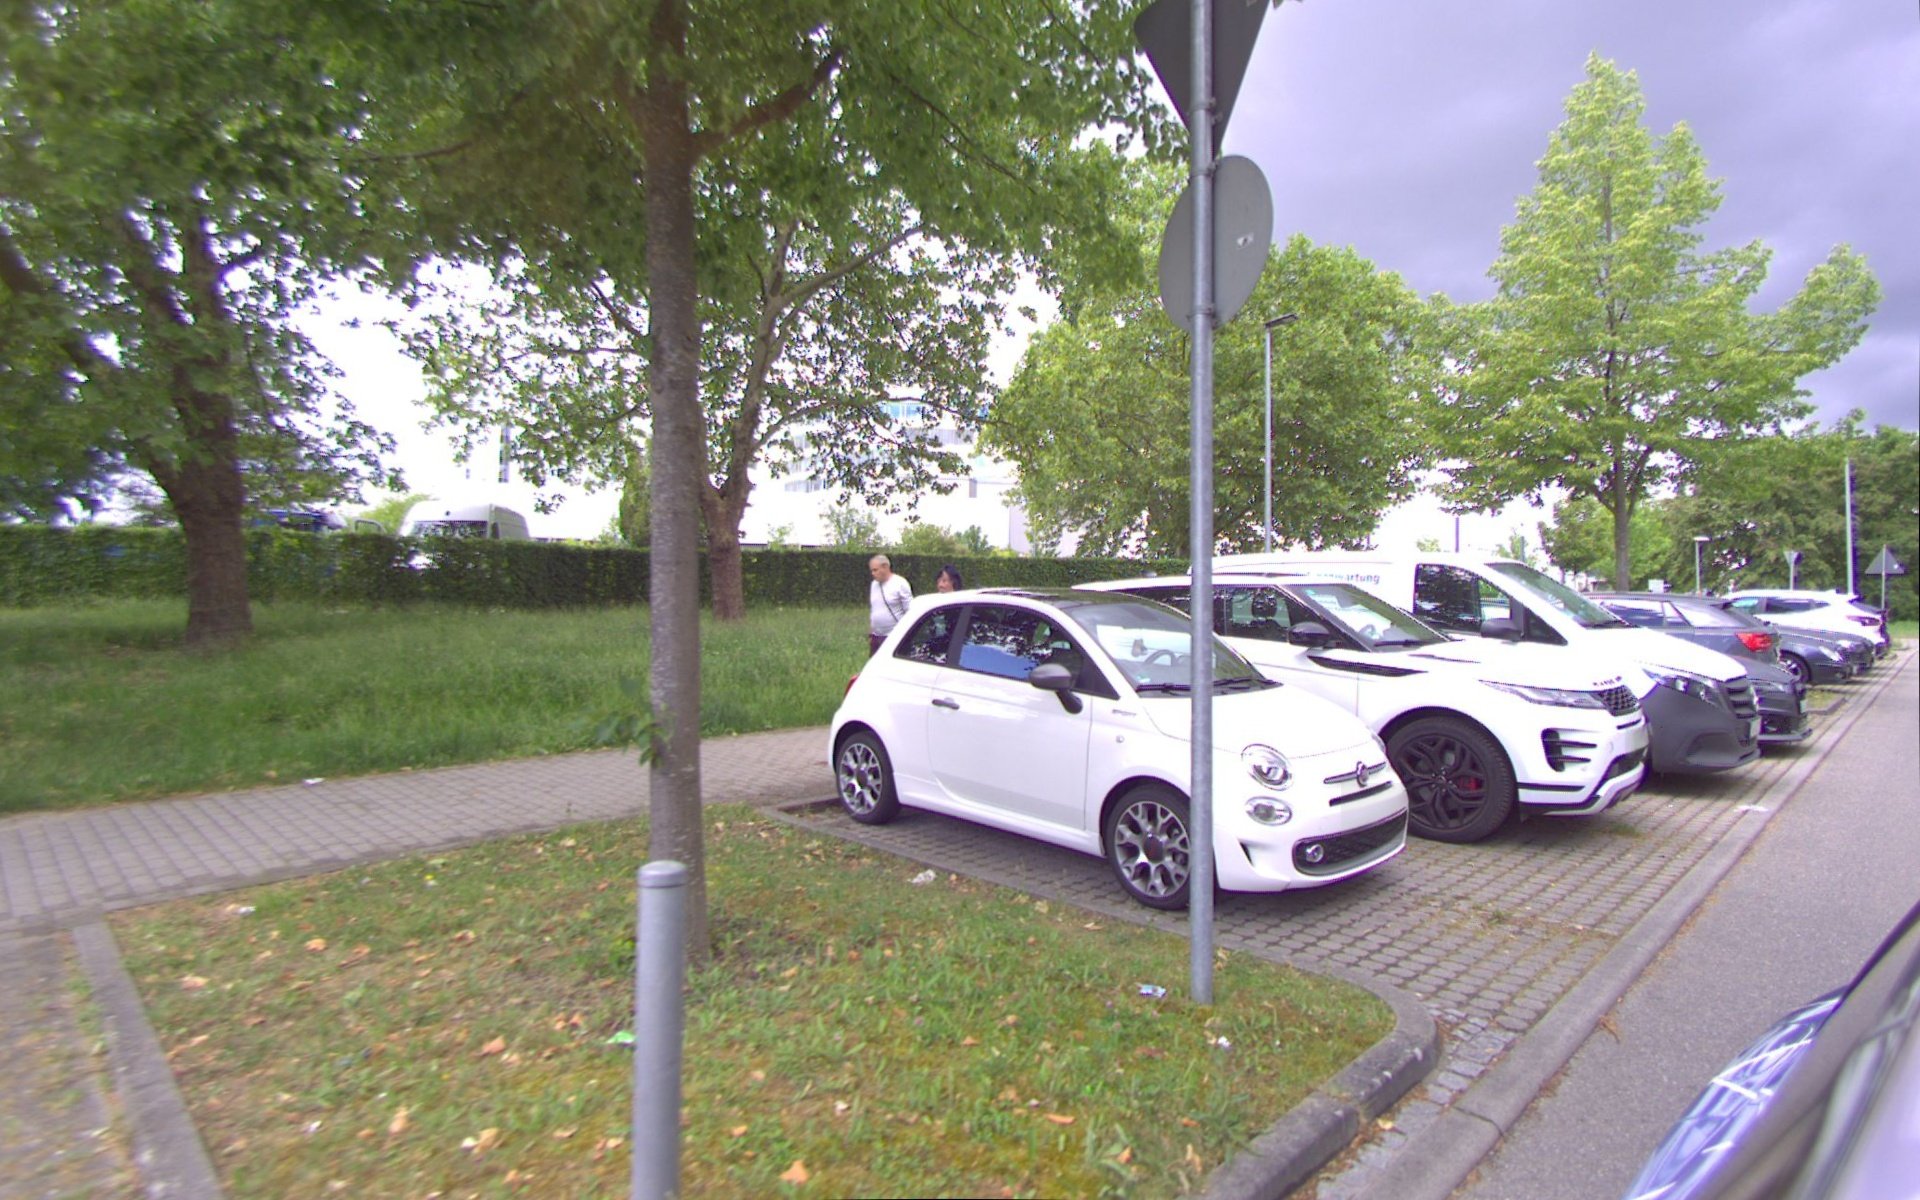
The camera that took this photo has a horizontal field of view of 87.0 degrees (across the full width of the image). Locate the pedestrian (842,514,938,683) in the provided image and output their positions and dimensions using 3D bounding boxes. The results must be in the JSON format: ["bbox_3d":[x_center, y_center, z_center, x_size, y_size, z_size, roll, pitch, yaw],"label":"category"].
[{"bbox_3d":[-0.740,-0.014,10.555,0.583,1.678,0.869,1,-2,-44],"label":"pedestrian"}]

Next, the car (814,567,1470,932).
[{"bbox_3d":[0.856,0.606,5.989,1.710,1.480,3.515,1,0,-43],"label":"car"}]

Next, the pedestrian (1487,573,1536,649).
[{"bbox_3d":[13.555,0.265,24.873,0.863,1.816,0.831,1,-2,-43],"label":"pedestrian"}]

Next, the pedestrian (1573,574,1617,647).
[{"bbox_3d":[16.170,0.273,25.776,0.863,1.816,0.740,1,-2,-43],"label":"pedestrian"}]

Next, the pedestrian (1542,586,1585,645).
[{"bbox_3d":[17.155,0.438,28.770,0.677,1.642,0.931,0,-1,4],"label":"pedestrian"}]

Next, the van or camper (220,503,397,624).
[{"bbox_3d":[-16.588,-0.831,26.101,2.072,2.834,4.485,0,-1,-7],"label":"van or camper"}]

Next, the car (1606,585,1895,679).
[{"bbox_3d":[14.468,0.543,18.671,1.853,1.538,3.988,0,0,-44],"label":"car"}]

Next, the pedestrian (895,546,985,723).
[{"bbox_3d":[-0.203,0.333,10.036,0.590,1.678,0.689,1,-2,-45],"label":"pedestrian"}]

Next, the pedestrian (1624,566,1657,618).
[{"bbox_3d":[19.698,-0.215,29.295,0.723,1.487,0.619,1,-2,-43],"label":"pedestrian"}]

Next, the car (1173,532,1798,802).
[{"bbox_3d":[4.484,0.392,9.350,1.811,1.854,4.782,0,1,-41],"label":"car"}]

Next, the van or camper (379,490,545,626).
[{"bbox_3d":[-11.320,-0.848,23.416,2.072,2.834,4.485,0,-1,-7],"label":"van or camper"}]

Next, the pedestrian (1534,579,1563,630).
[{"bbox_3d":[20.416,0.166,35.111,0.693,1.733,0.655,1,-2,-37],"label":"pedestrian"}]

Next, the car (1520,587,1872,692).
[{"bbox_3d":[12.150,0.539,16.924,4.575,1.511,1.921,1,1,44],"label":"car"}]

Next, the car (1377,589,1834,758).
[{"bbox_3d":[6.740,0.627,10.819,3.826,1.388,1.813,2,2,45],"label":"car"}]

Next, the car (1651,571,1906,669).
[{"bbox_3d":[16.344,0.332,20.328,1.819,1.667,3.678,1,3,-41],"label":"car"}]

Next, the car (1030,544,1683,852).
[{"bbox_3d":[2.626,0.544,7.444,1.710,1.623,4.152,1,-1,-44],"label":"car"}]

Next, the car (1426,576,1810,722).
[{"bbox_3d":[8.330,0.503,13.025,1.880,1.539,3.828,0,2,-44],"label":"car"}]

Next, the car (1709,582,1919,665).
[{"bbox_3d":[18.514,0.447,21.713,1.566,1.593,3.676,-3,2,-41],"label":"car"}]
